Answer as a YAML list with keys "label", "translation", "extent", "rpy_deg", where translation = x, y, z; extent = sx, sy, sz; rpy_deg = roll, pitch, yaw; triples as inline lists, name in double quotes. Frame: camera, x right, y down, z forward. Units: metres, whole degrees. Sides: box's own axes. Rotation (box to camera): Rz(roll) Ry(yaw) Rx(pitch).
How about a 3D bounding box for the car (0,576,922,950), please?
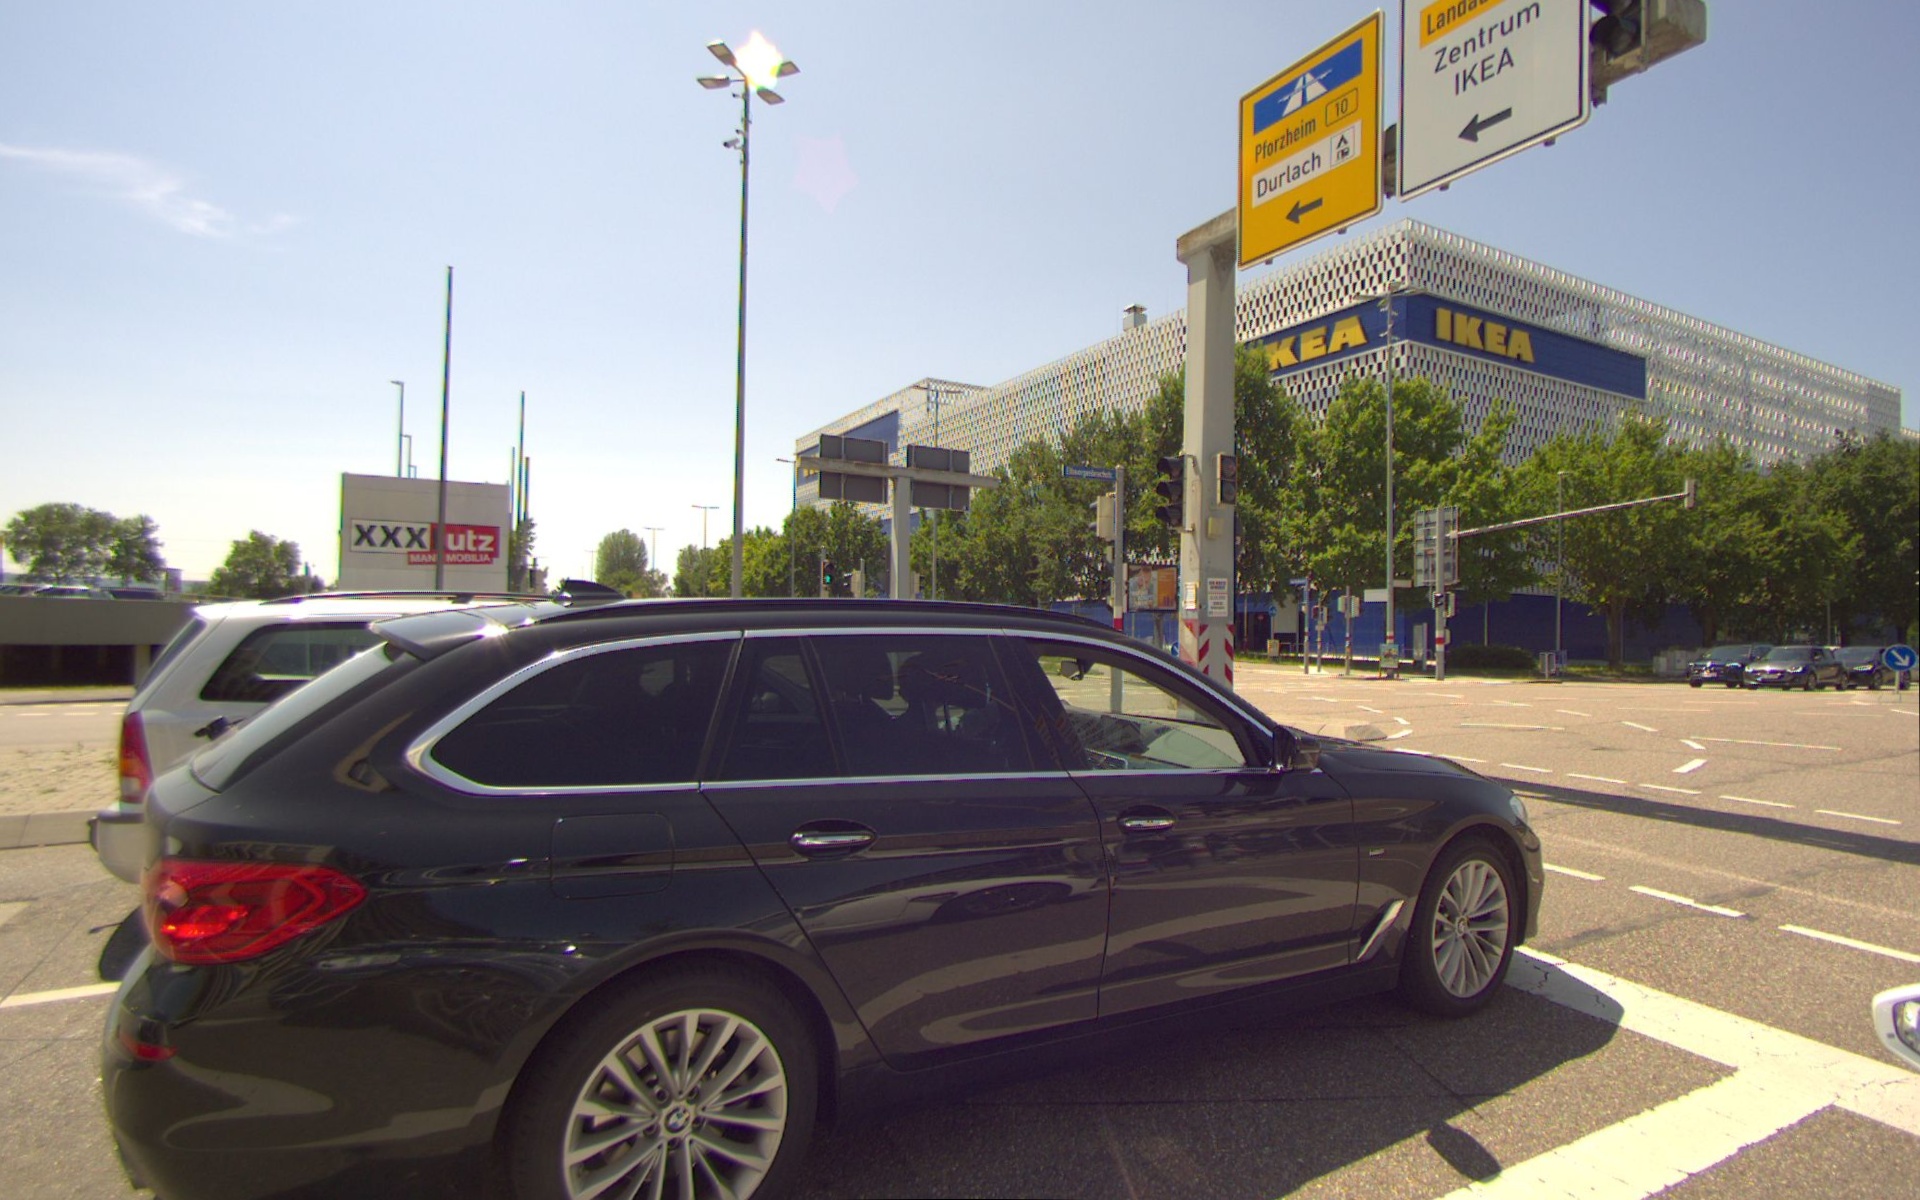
- label: "car"
  translation: [-2.353, 0.657, 5.562]
  extent: [3.959, 1.441, 1.685]
  rpy_deg: [1, 0, -29]

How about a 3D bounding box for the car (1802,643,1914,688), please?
- label: "car"
  translation: [32.362, 2.370, 36.178]
  extent: [4.193, 1.524, 1.719]
  rpy_deg: [3, -4, -30]

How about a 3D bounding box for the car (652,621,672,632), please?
- label: "car"
  translation: [-42.866, 3.806, 144.457]
  extent: [1.976, 1.572, 3.970]
  rpy_deg: [2, -2, -29]

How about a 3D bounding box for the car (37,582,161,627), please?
- label: "car"
  translation: [-42.064, 0.258, 49.217]
  extent: [4.285, 2.040, 1.981]
  rpy_deg: [2, -2, -34]

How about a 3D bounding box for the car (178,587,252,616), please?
- label: "car"
  translation: [-57.697, 0.160, 77.875]
  extent: [4.278, 2.040, 1.985]
  rpy_deg: [2, -2, -30]

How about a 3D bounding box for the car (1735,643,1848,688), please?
- label: "car"
  translation: [27.257, 2.169, 32.923]
  extent: [3.671, 1.407, 1.637]
  rpy_deg: [3, -4, -30]

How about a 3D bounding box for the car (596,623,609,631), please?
- label: "car"
  translation: [-60.642, 4.538, 170.403]
  extent: [1.608, 1.368, 3.472]
  rpy_deg: [2, -2, -29]

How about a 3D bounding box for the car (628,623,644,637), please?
- label: "car"
  translation: [-46.254, 4.293, 143.477]
  extent: [1.607, 1.835, 3.474]
  rpy_deg: [1, -2, -27]

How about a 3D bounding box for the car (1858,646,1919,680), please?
- label: "car"
  translation: [42.896, 2.886, 45.919]
  extent: [3.870, 1.505, 1.642]
  rpy_deg: [3, -3, -31]

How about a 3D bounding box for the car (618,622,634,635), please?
- label: "car"
  translation: [-49.533, 4.199, 149.084]
  extent: [1.609, 1.938, 3.471]
  rpy_deg: [2, -2, -30]

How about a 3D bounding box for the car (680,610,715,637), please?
- label: "car"
  translation: [-22.118, 1.994, 84.601]
  extent: [1.973, 2.212, 5.019]
  rpy_deg: [1, -2, -25]

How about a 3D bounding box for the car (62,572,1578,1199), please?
- label: "car"
  translation: [0.053, 0.754, 3.540]
  extent: [4.505, 1.459, 1.788]
  rpy_deg: [2, -1, -31]

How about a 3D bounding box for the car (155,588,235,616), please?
- label: "car"
  translation: [-52.406, 0.149, 68.876]
  extent: [4.086, 1.764, 1.770]
  rpy_deg: [2, -2, -30]

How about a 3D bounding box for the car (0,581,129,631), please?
- label: "car"
  translation: [-39.553, 0.283, 44.258]
  extent: [4.284, 2.040, 1.982]
  rpy_deg: [2, -2, -34]

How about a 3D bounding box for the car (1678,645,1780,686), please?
- label: "car"
  translation: [28.711, 2.446, 37.466]
  extent: [3.992, 1.442, 1.653]
  rpy_deg: [3, -3, -31]

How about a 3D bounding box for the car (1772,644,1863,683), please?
- label: "car"
  translation: [35.643, 2.647, 41.744]
  extent: [3.870, 1.564, 1.718]
  rpy_deg: [3, -3, -31]

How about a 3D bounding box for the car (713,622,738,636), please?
- label: "car"
  translation: [-29.133, 3.616, 124.900]
  extent: [2.031, 1.769, 3.860]
  rpy_deg: [2, -2, -29]

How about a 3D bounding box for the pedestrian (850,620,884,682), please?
- label: "pedestrian"
  translation: [-2.731, 1.500, 29.603]
  extent: [0.816, 1.807, 0.601]
  rpy_deg: [2, -2, -27]

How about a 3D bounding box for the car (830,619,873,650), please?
- label: "car"
  translation: [-7.359, 2.325, 67.843]
  extent: [1.750, 2.040, 3.813]
  rpy_deg: [1, -2, -26]

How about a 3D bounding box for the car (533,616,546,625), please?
- label: "car"
  translation: [-74.955, 3.677, 179.100]
  extent: [1.836, 1.528, 3.971]
  rpy_deg: [2, -2, -28]

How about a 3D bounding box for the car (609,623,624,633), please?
- label: "car"
  translation: [-55.358, 4.532, 161.763]
  extent: [1.608, 1.629, 3.471]
  rpy_deg: [2, -2, -29]
